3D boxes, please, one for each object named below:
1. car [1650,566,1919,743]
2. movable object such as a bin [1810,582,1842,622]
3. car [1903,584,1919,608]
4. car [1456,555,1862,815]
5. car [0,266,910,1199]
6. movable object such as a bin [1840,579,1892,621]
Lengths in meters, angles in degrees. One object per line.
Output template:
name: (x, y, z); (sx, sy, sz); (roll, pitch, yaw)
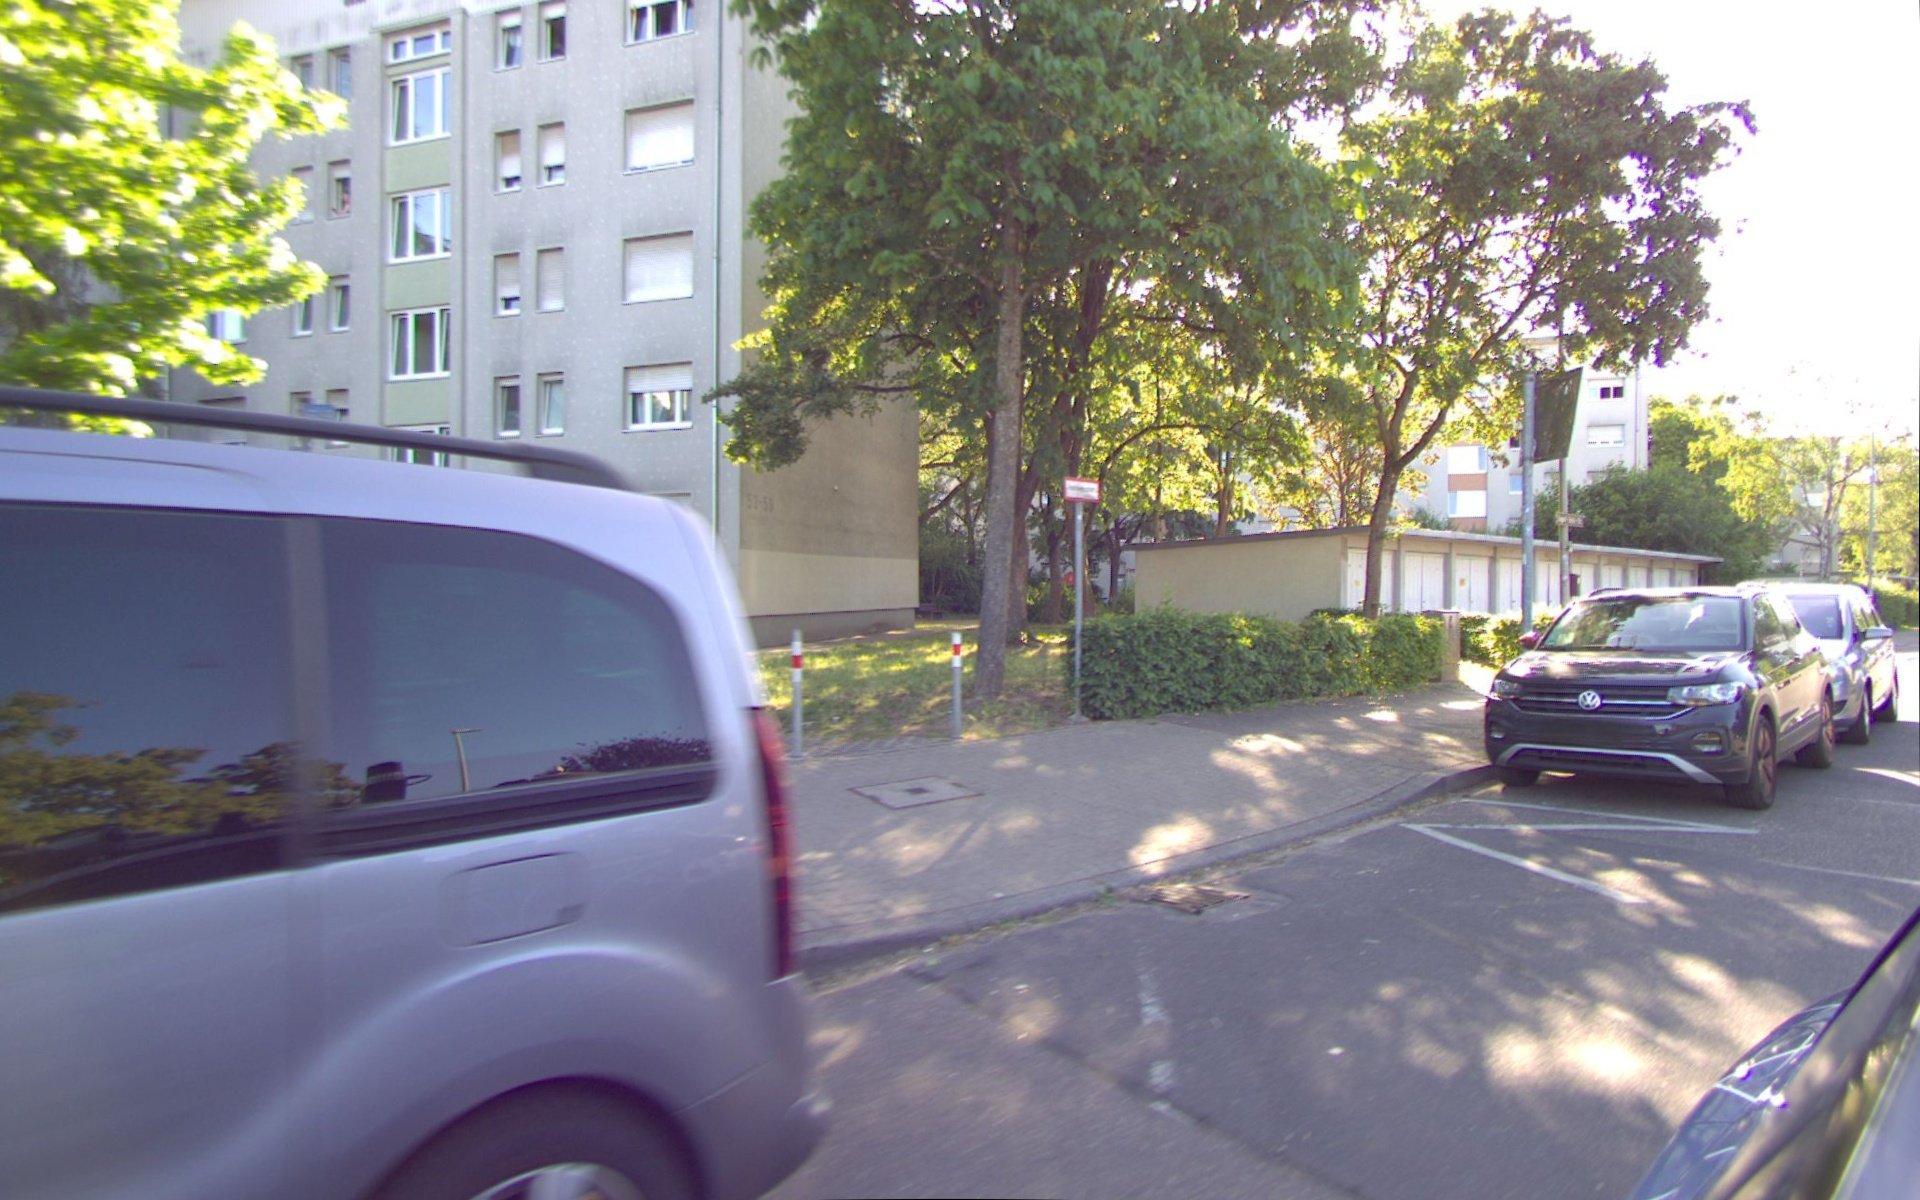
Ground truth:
car: (9.428, 0.473, 11.390); (4.298, 1.630, 1.770); (-2, -1, -42)
movable object such as a bin: (32.279, 0.072, 37.724); (0.834, 1.459, 0.753); (-1, 3, -42)
car: (62.178, -0.284, 64.100); (3.494, 1.527, 1.577); (-2, -1, 44)
car: (5.852, 0.527, 8.290); (3.954, 1.614, 1.806); (-1, -1, -41)
car: (-2.382, 0.507, 1.401); (4.476, 1.814, 1.835); (0, -2, -42)
movable object such as a bin: (33.339, -0.021, 37.231); (1.160, 1.459, 1.276); (-1, 3, -42)
